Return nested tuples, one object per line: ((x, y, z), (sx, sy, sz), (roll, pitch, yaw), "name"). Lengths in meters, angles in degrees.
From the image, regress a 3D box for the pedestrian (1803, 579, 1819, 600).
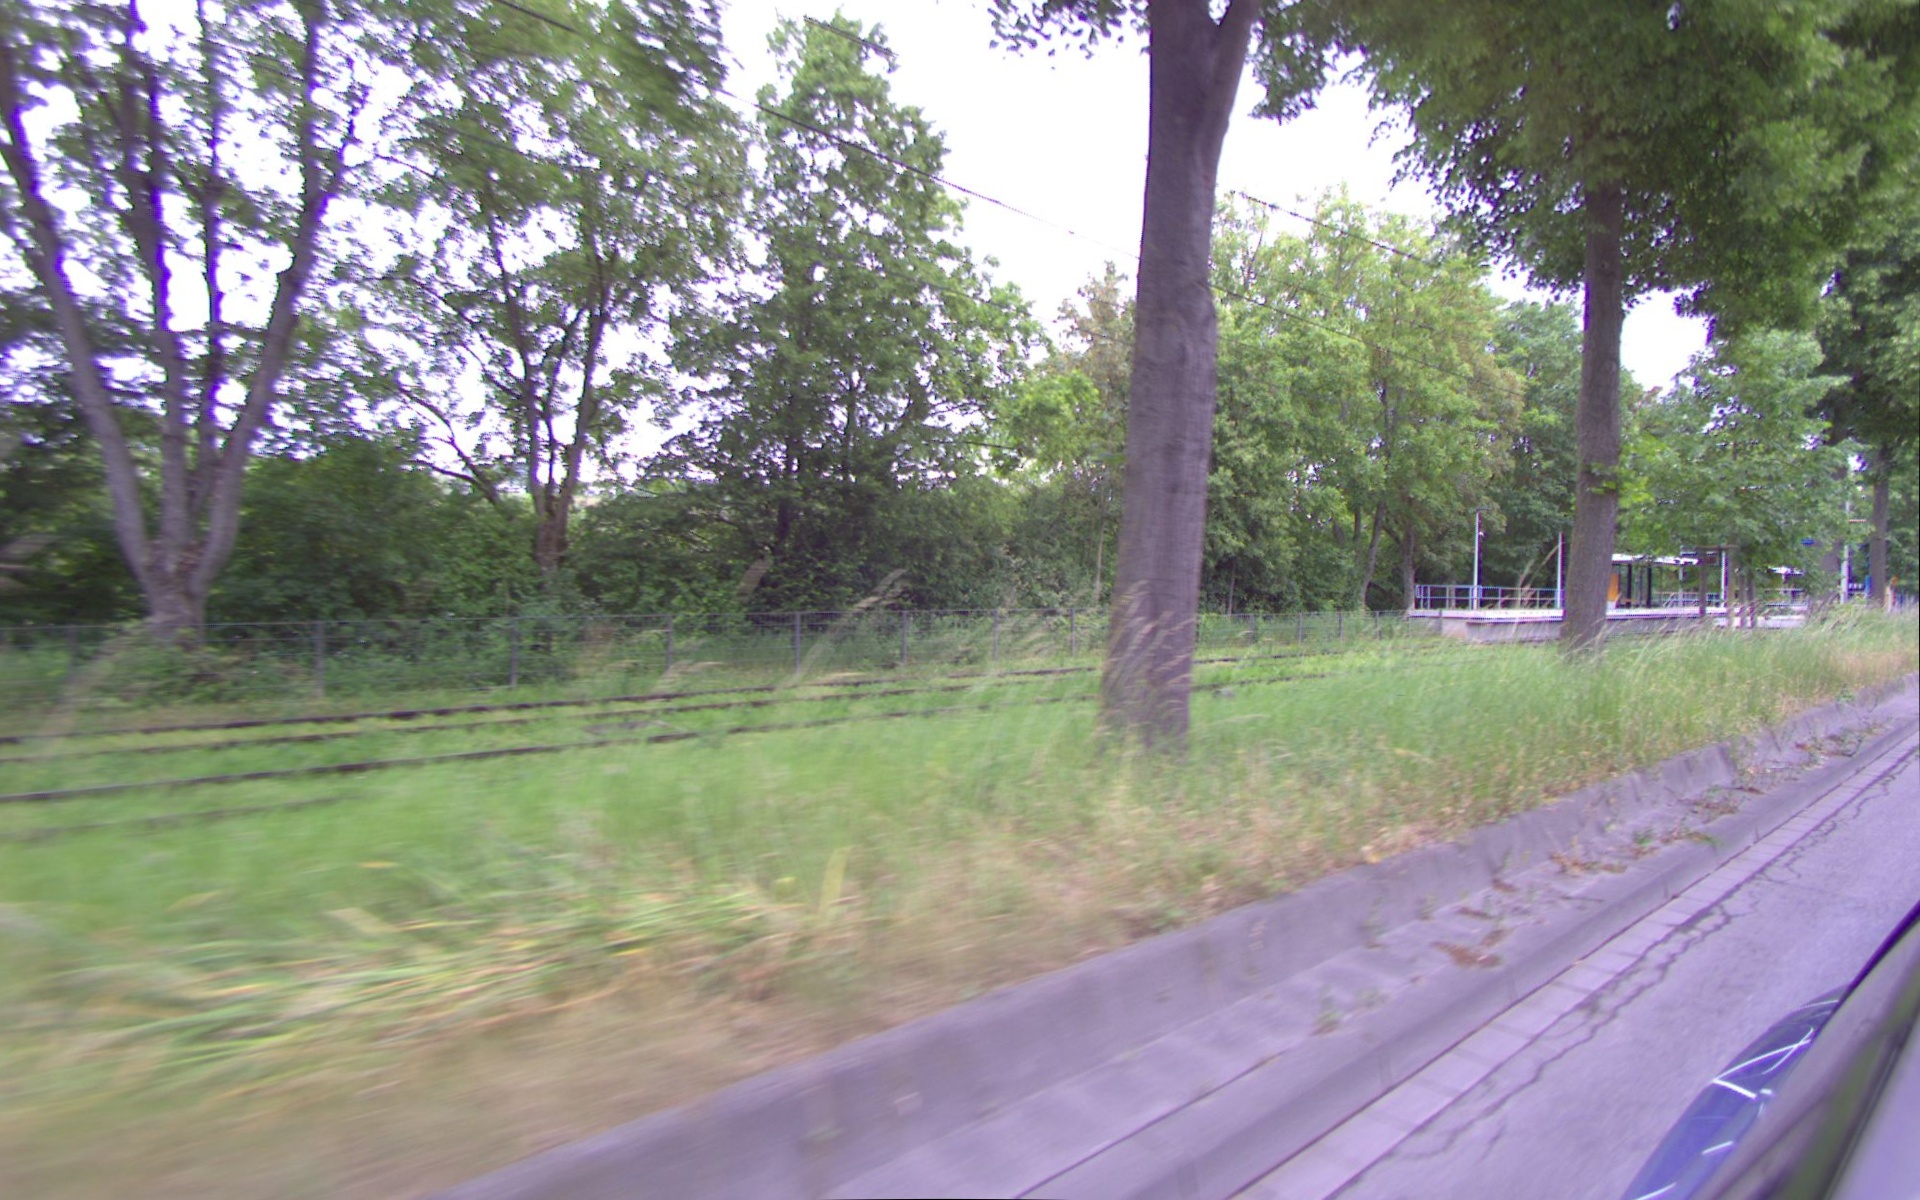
((61.343, -0.751, 72.967), (0.711, 1.530, 0.720), (-1, 0, -38), "pedestrian")
